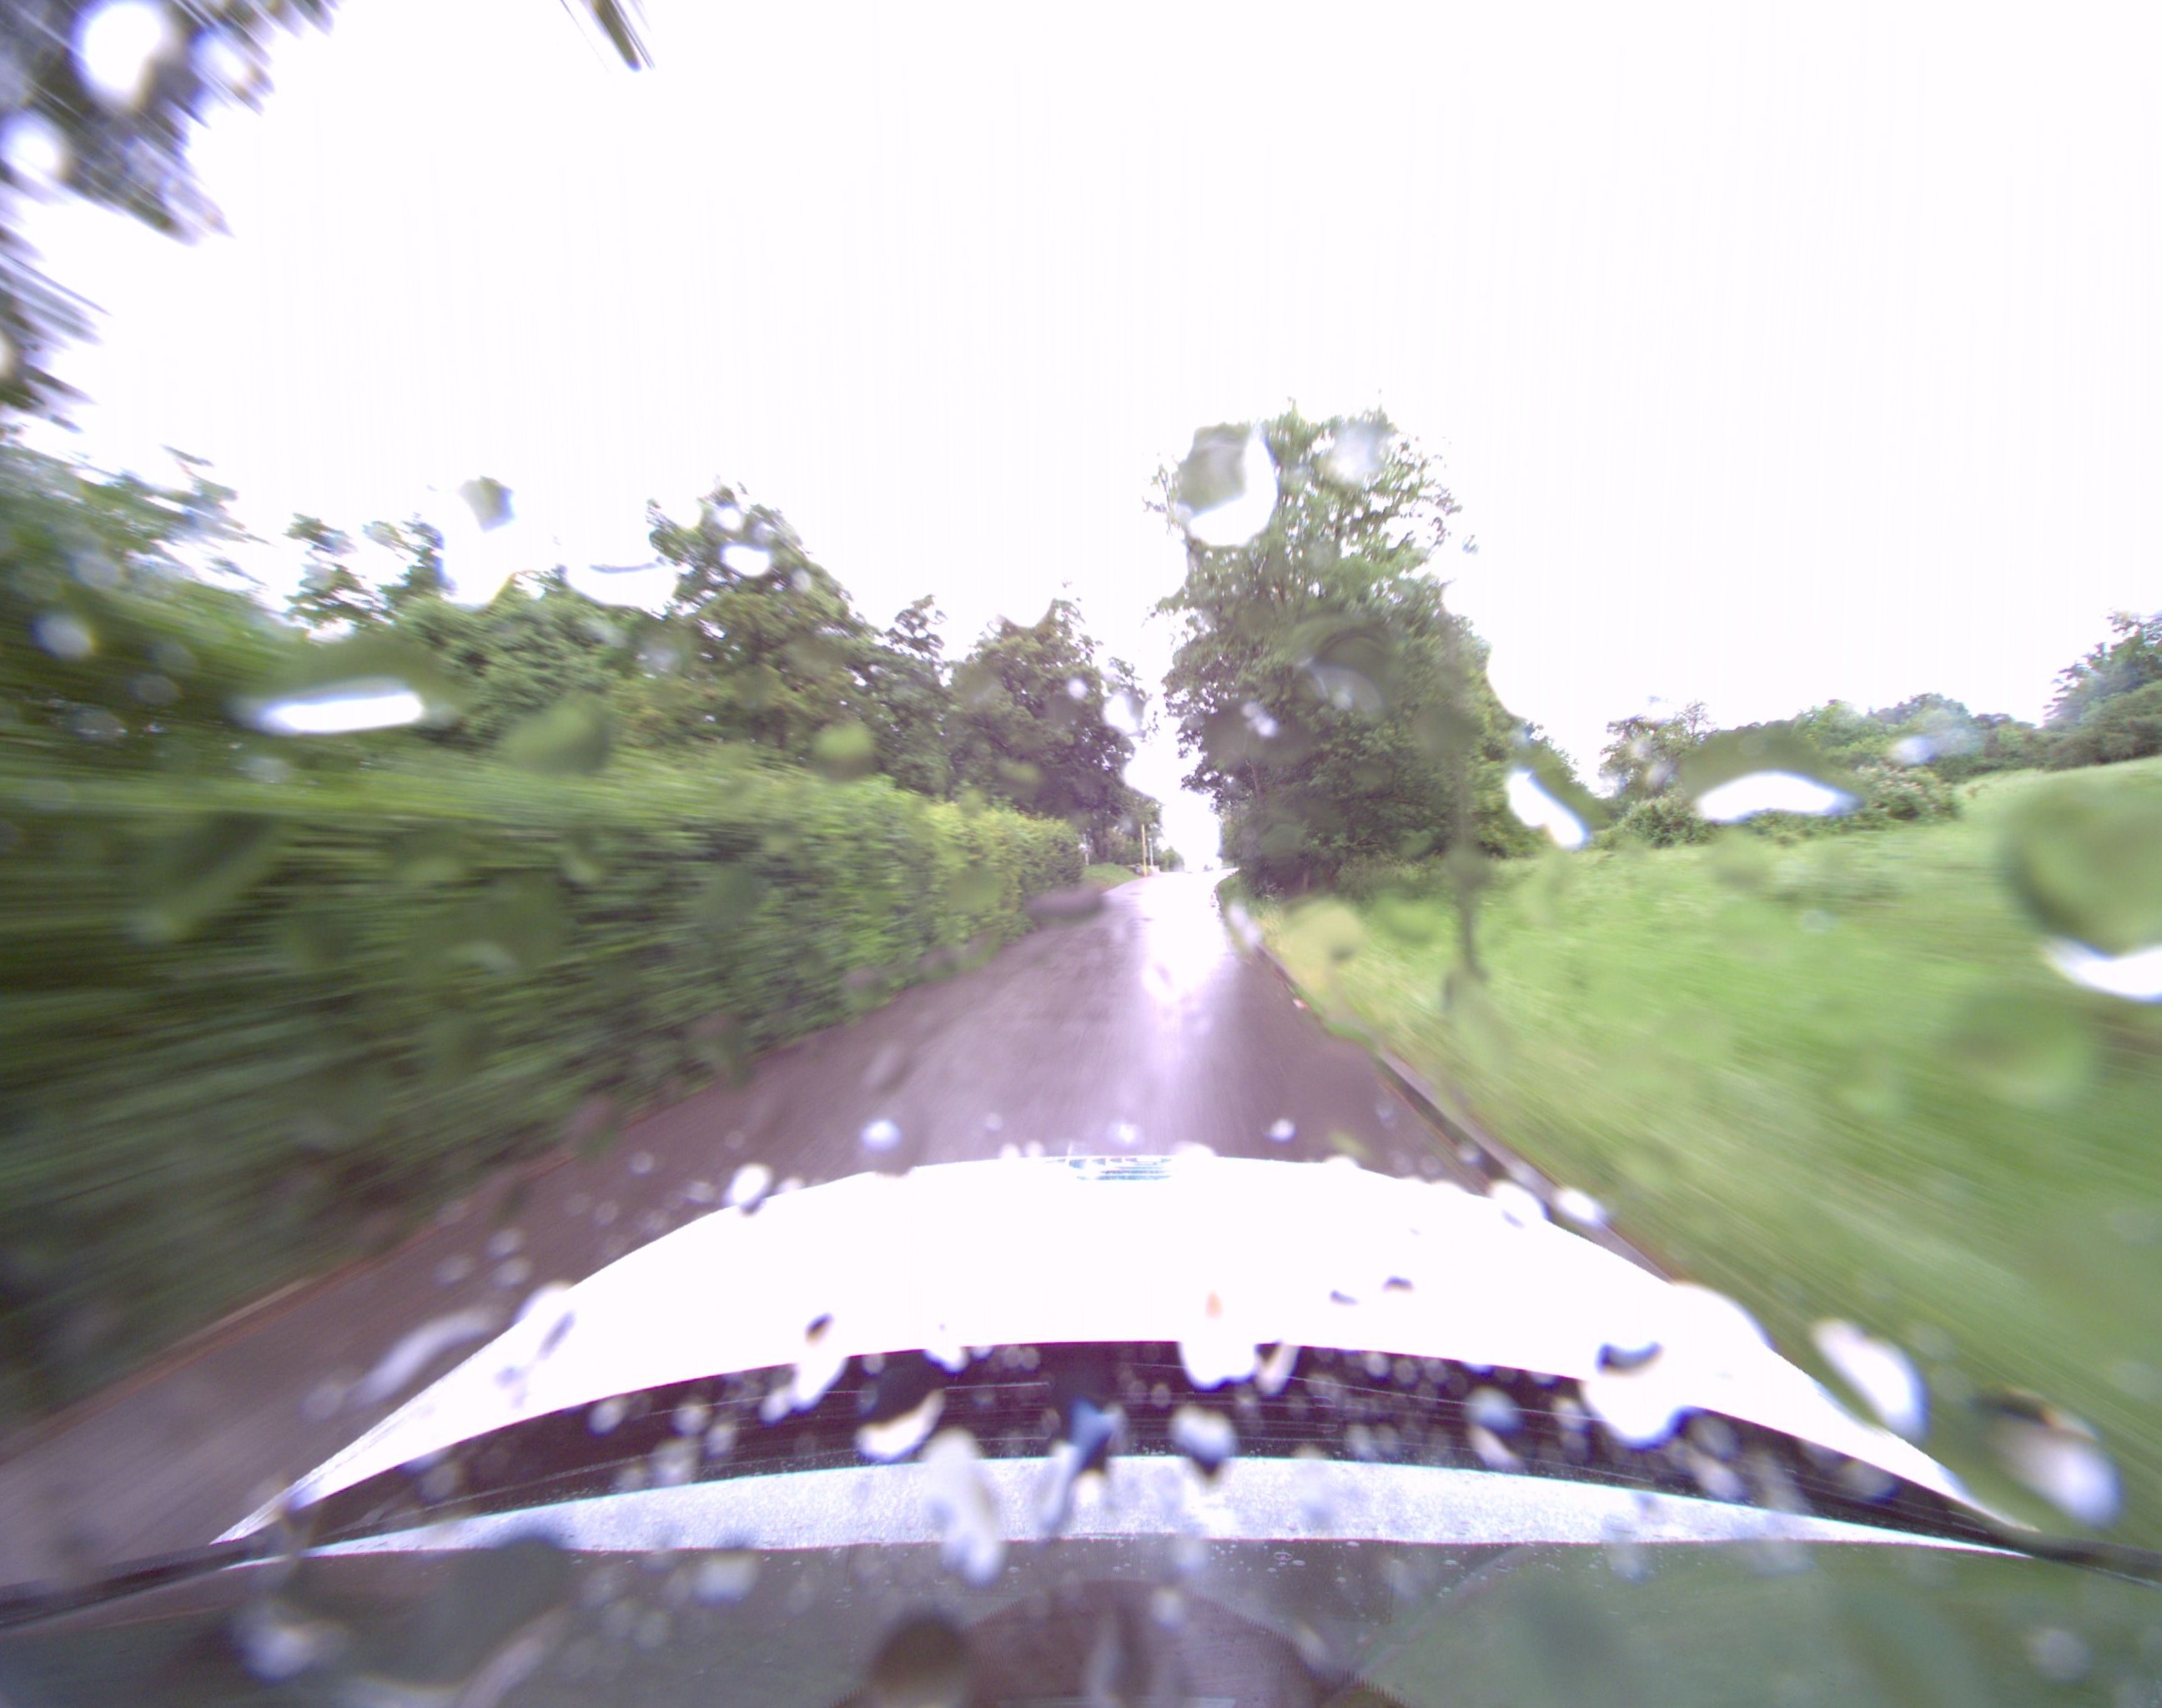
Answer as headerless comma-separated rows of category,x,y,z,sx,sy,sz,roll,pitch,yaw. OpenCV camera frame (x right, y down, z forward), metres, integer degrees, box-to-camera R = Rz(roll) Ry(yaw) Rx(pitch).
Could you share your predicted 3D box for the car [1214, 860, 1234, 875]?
car,17.361,1.654,98.570,1.979,1.583,4.015,-4,-4,15
